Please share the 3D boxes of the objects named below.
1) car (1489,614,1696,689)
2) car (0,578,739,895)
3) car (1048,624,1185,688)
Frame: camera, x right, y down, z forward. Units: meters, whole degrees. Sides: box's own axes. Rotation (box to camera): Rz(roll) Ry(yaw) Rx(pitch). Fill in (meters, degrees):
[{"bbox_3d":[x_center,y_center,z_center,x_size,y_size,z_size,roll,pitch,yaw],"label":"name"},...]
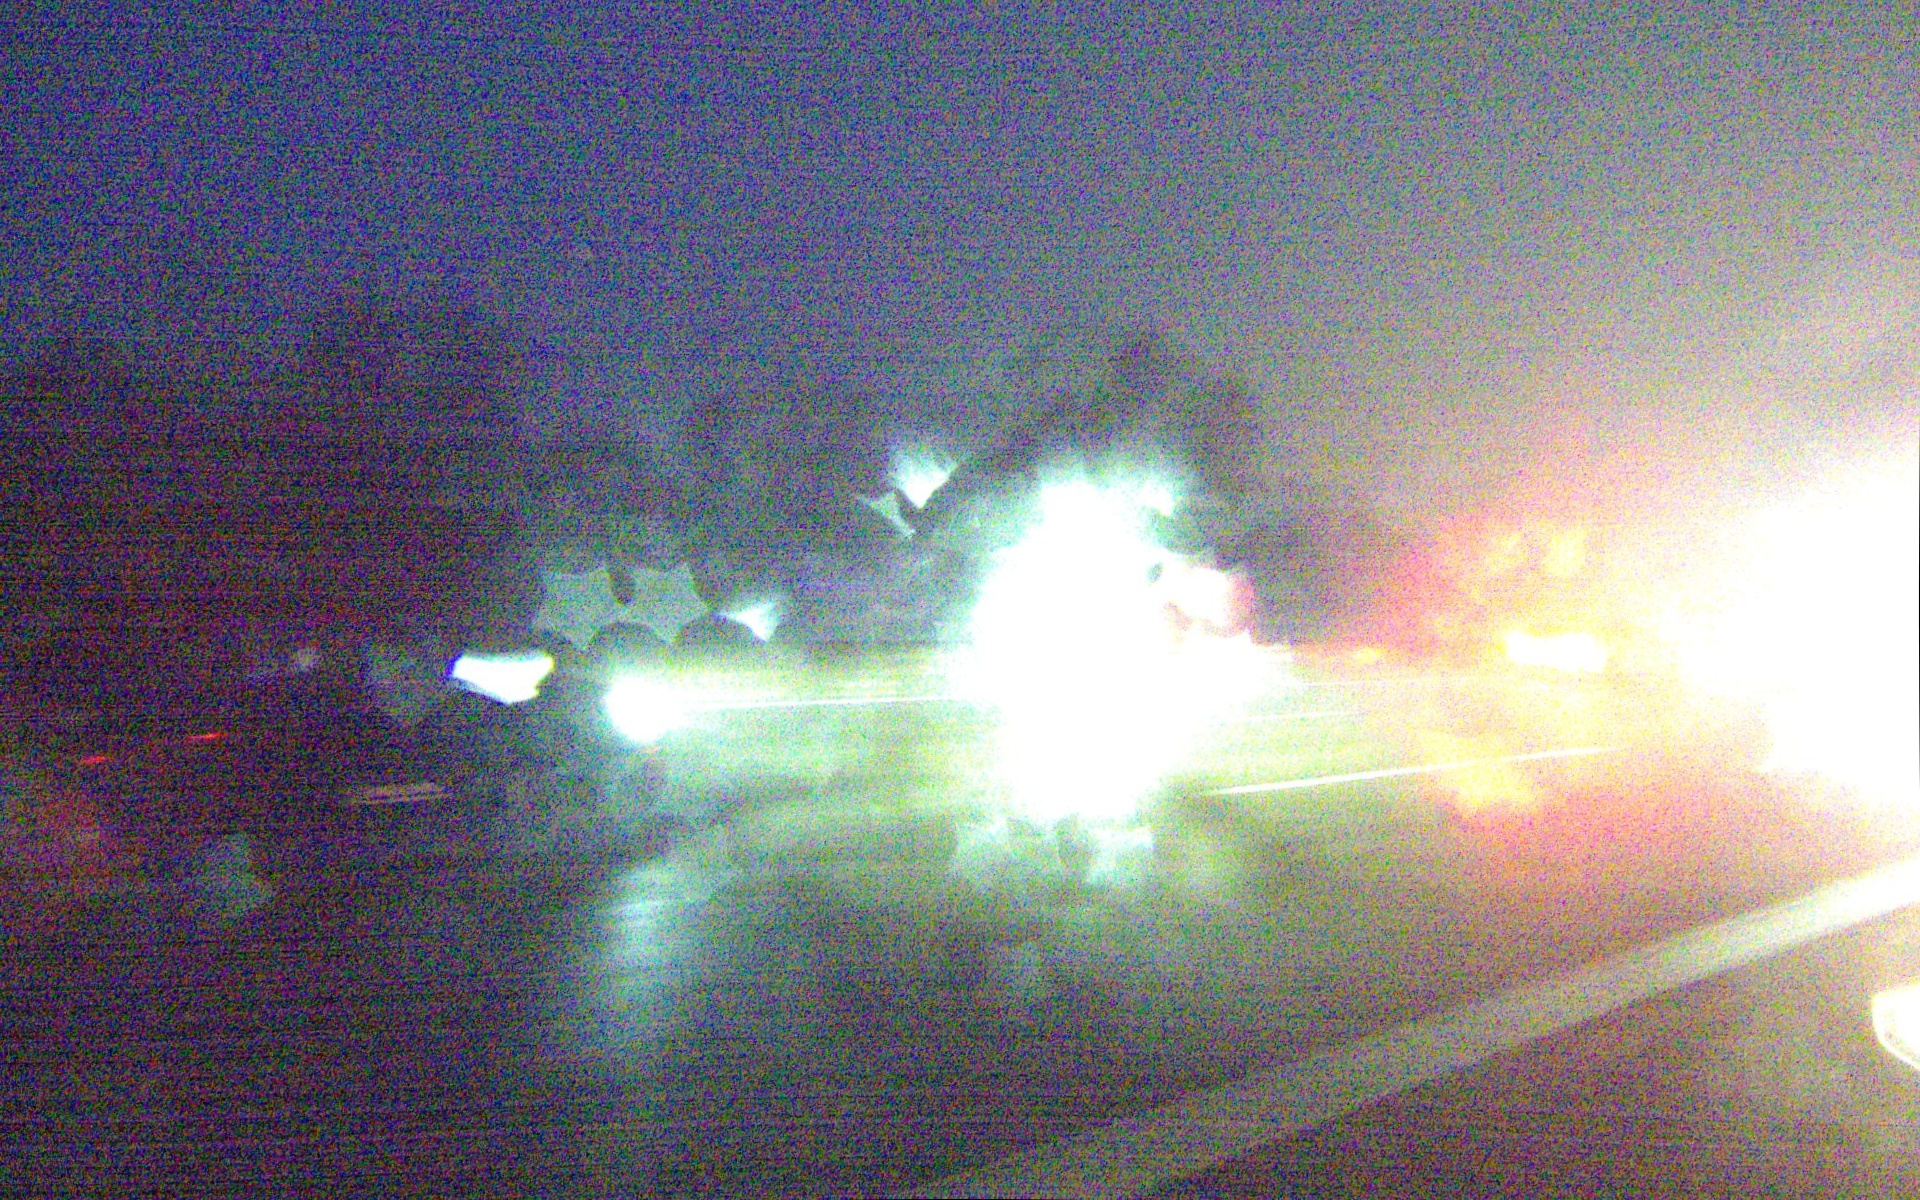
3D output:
[{"bbox_3d":[14.546,1.138,23.004,5.108,1.496,1.982,2,0,-32],"label":"car"},{"bbox_3d":[-3.631,0.659,6.305,3.955,1.460,1.983,2,0,-31],"label":"car"},{"bbox_3d":[4.929,1.734,31.550,3.954,1.832,1.894,2,0,-31],"label":"car"}]
